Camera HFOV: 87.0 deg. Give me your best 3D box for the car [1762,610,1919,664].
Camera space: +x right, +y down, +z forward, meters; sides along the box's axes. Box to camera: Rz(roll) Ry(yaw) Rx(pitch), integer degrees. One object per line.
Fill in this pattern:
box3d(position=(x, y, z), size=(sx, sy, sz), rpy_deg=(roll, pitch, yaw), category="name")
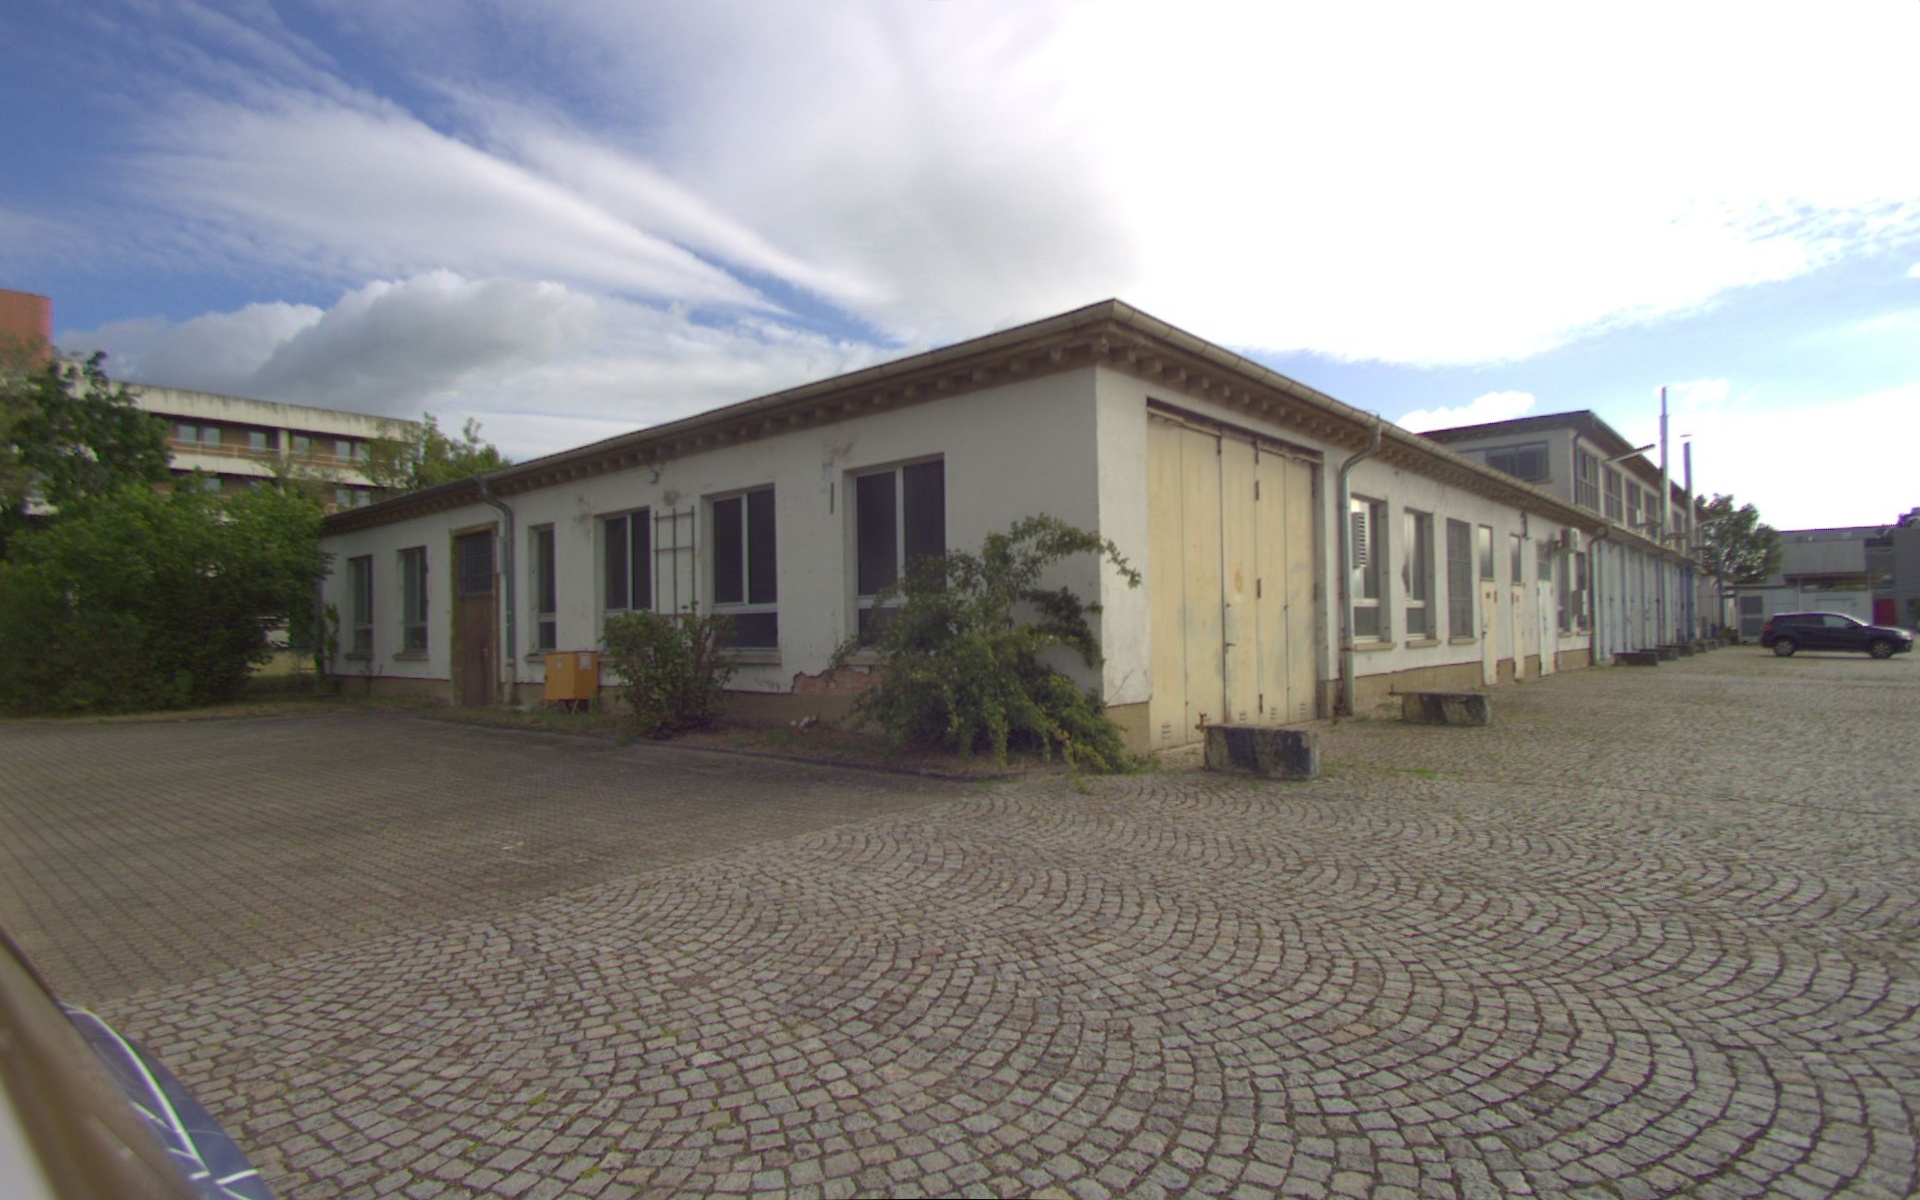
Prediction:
box3d(position=(31.188, 1.347, 35.707), size=(4.434, 1.770, 1.973), rpy_deg=(-3, -6, 41), category="car")
